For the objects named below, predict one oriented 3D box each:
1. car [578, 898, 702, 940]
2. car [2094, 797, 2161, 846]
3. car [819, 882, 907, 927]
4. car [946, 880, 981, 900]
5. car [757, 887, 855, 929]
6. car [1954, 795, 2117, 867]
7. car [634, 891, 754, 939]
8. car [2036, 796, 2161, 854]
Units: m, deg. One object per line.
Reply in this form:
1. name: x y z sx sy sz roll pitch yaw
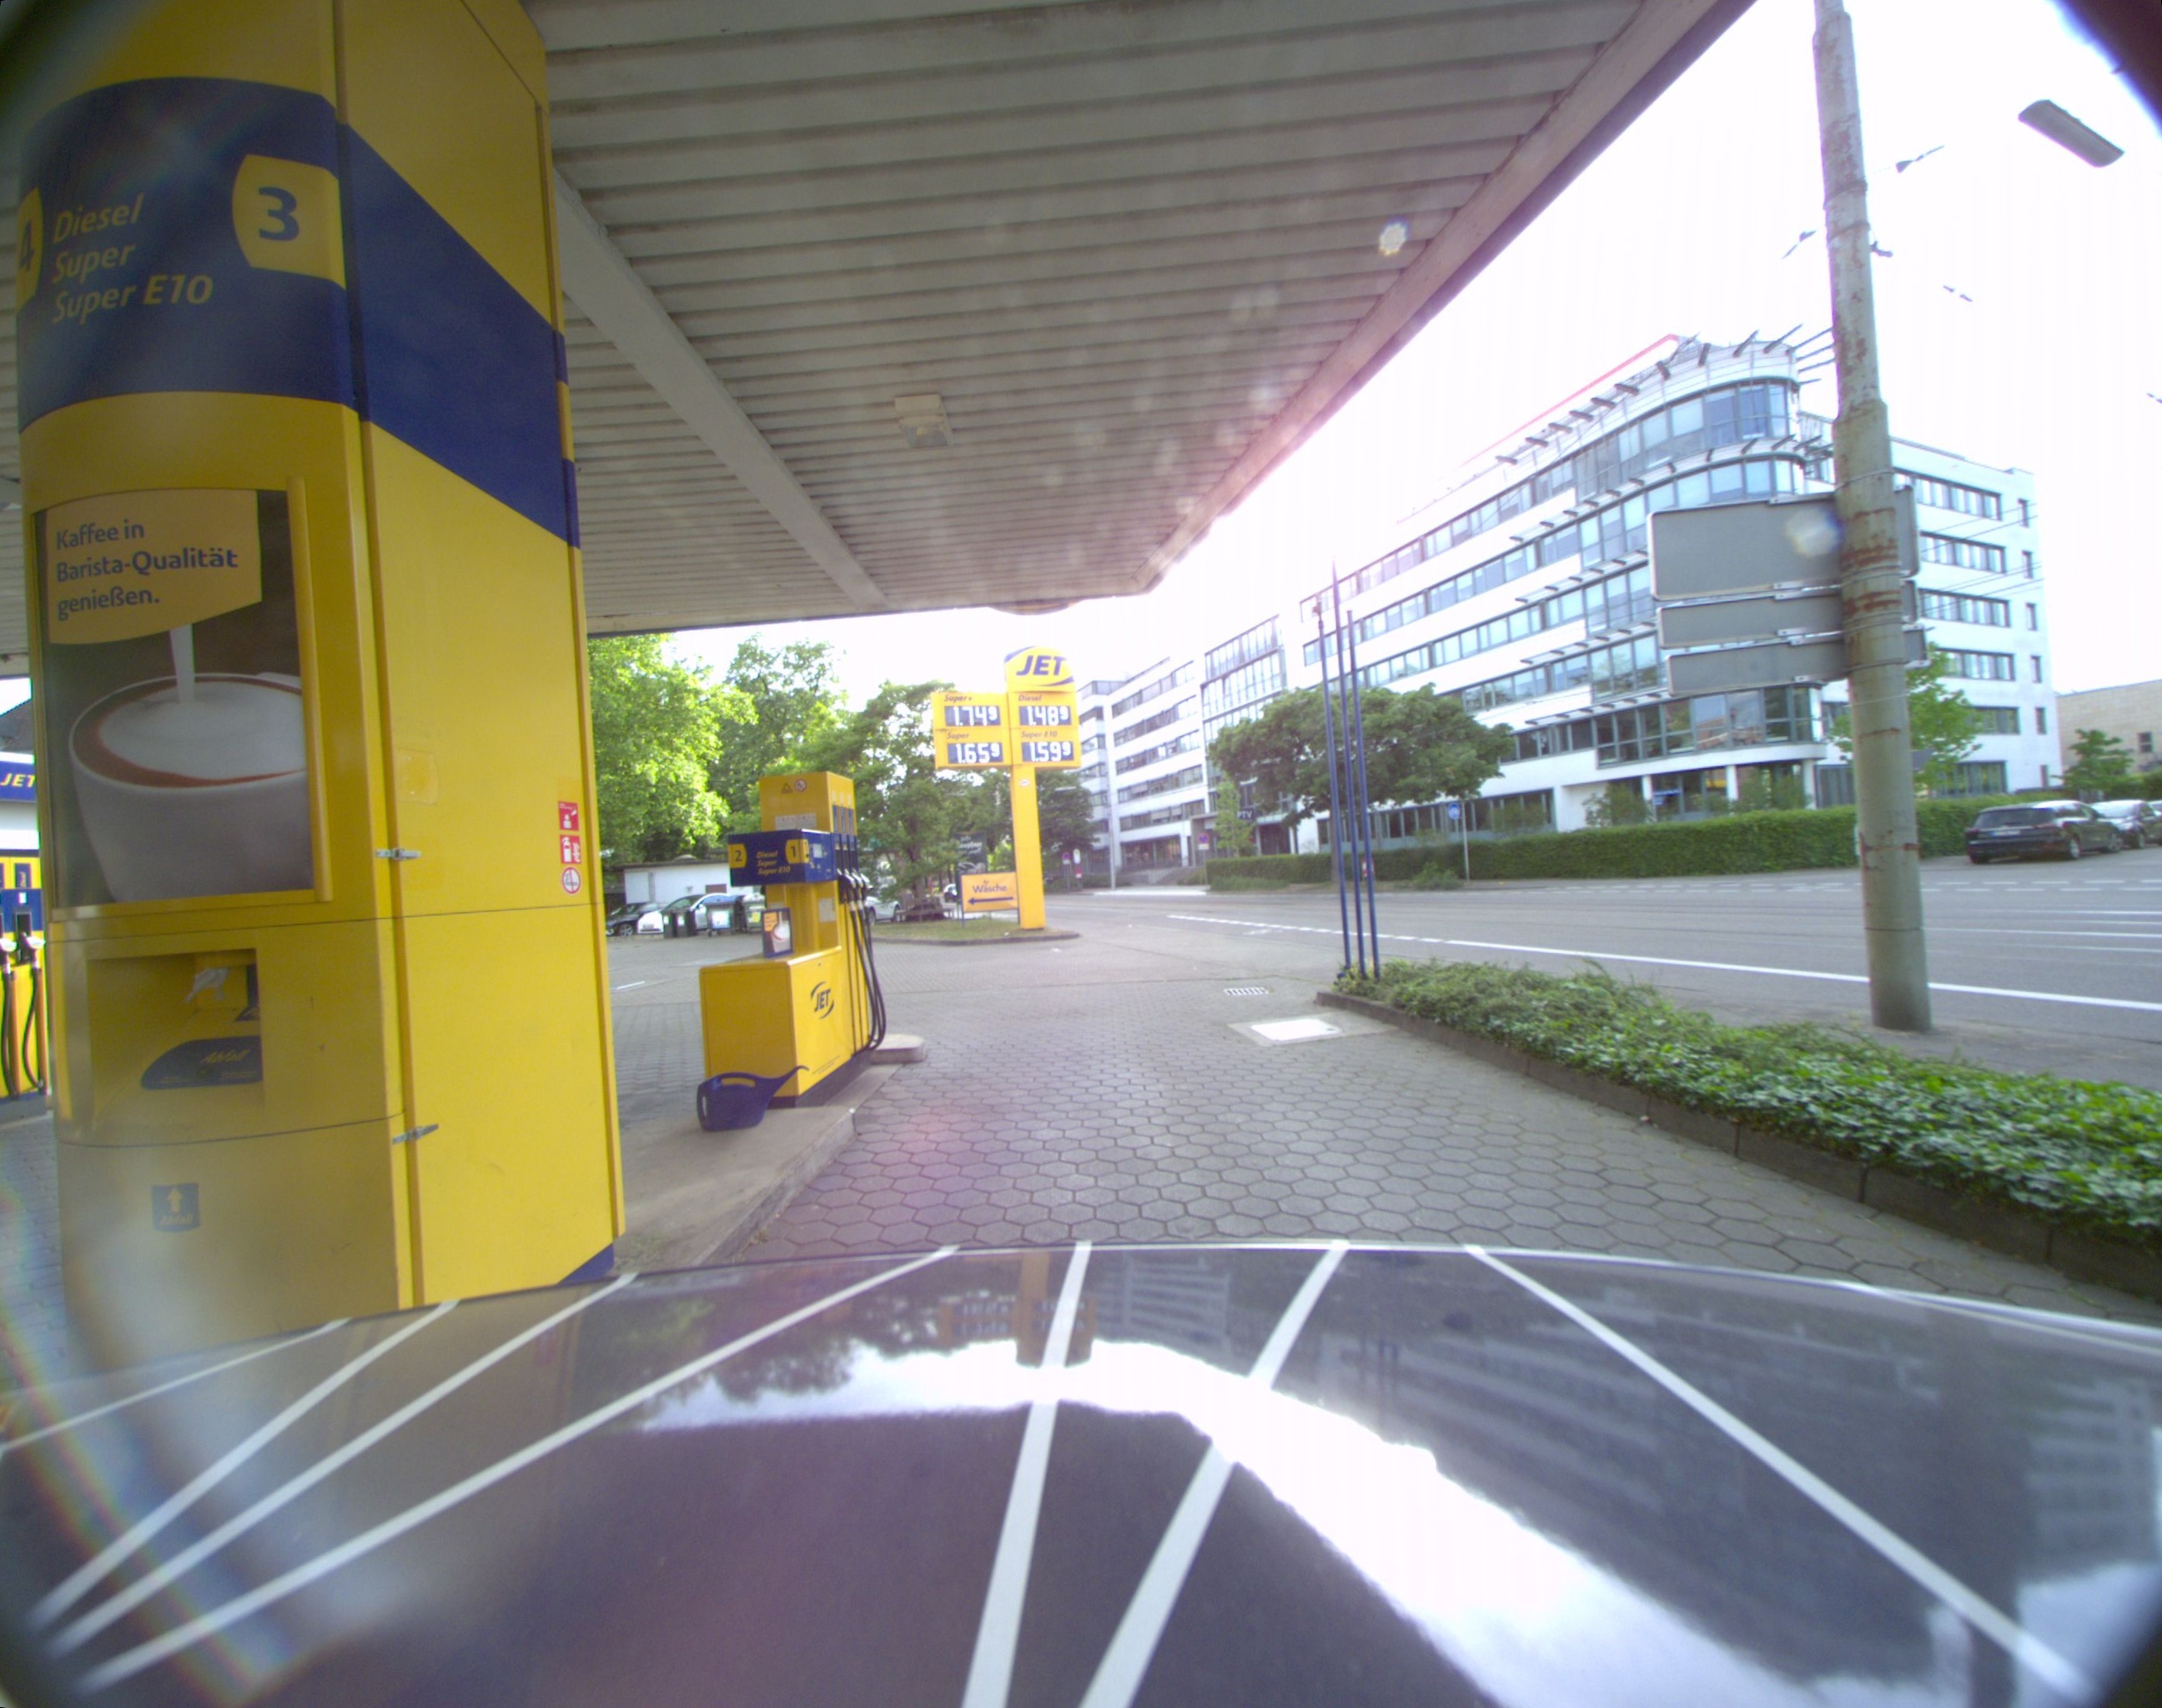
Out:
1. car: -17.791 2.603 30.910 1.771 1.367 4.398 -2 -1 14
2. car: 37.131 -1.198 26.153 4.296 1.509 1.945 -4 -1 -27
3. car: -8.633 2.012 30.505 1.772 1.591 4.398 -4 -4 6
4. car: -9.610 2.917 61.808 1.756 1.460 4.563 -4 -1 -22
5. car: -11.651 2.278 32.496 1.771 1.591 4.400 -4 -4 13
6. car: 27.278 -0.664 21.698 4.296 1.681 2.010 -4 -1 -27
7. car: -15.289 2.376 30.316 1.771 1.591 4.398 -2 -1 14
8. car: 32.548 -0.942 24.100 4.296 1.530 1.945 -4 -1 -27
